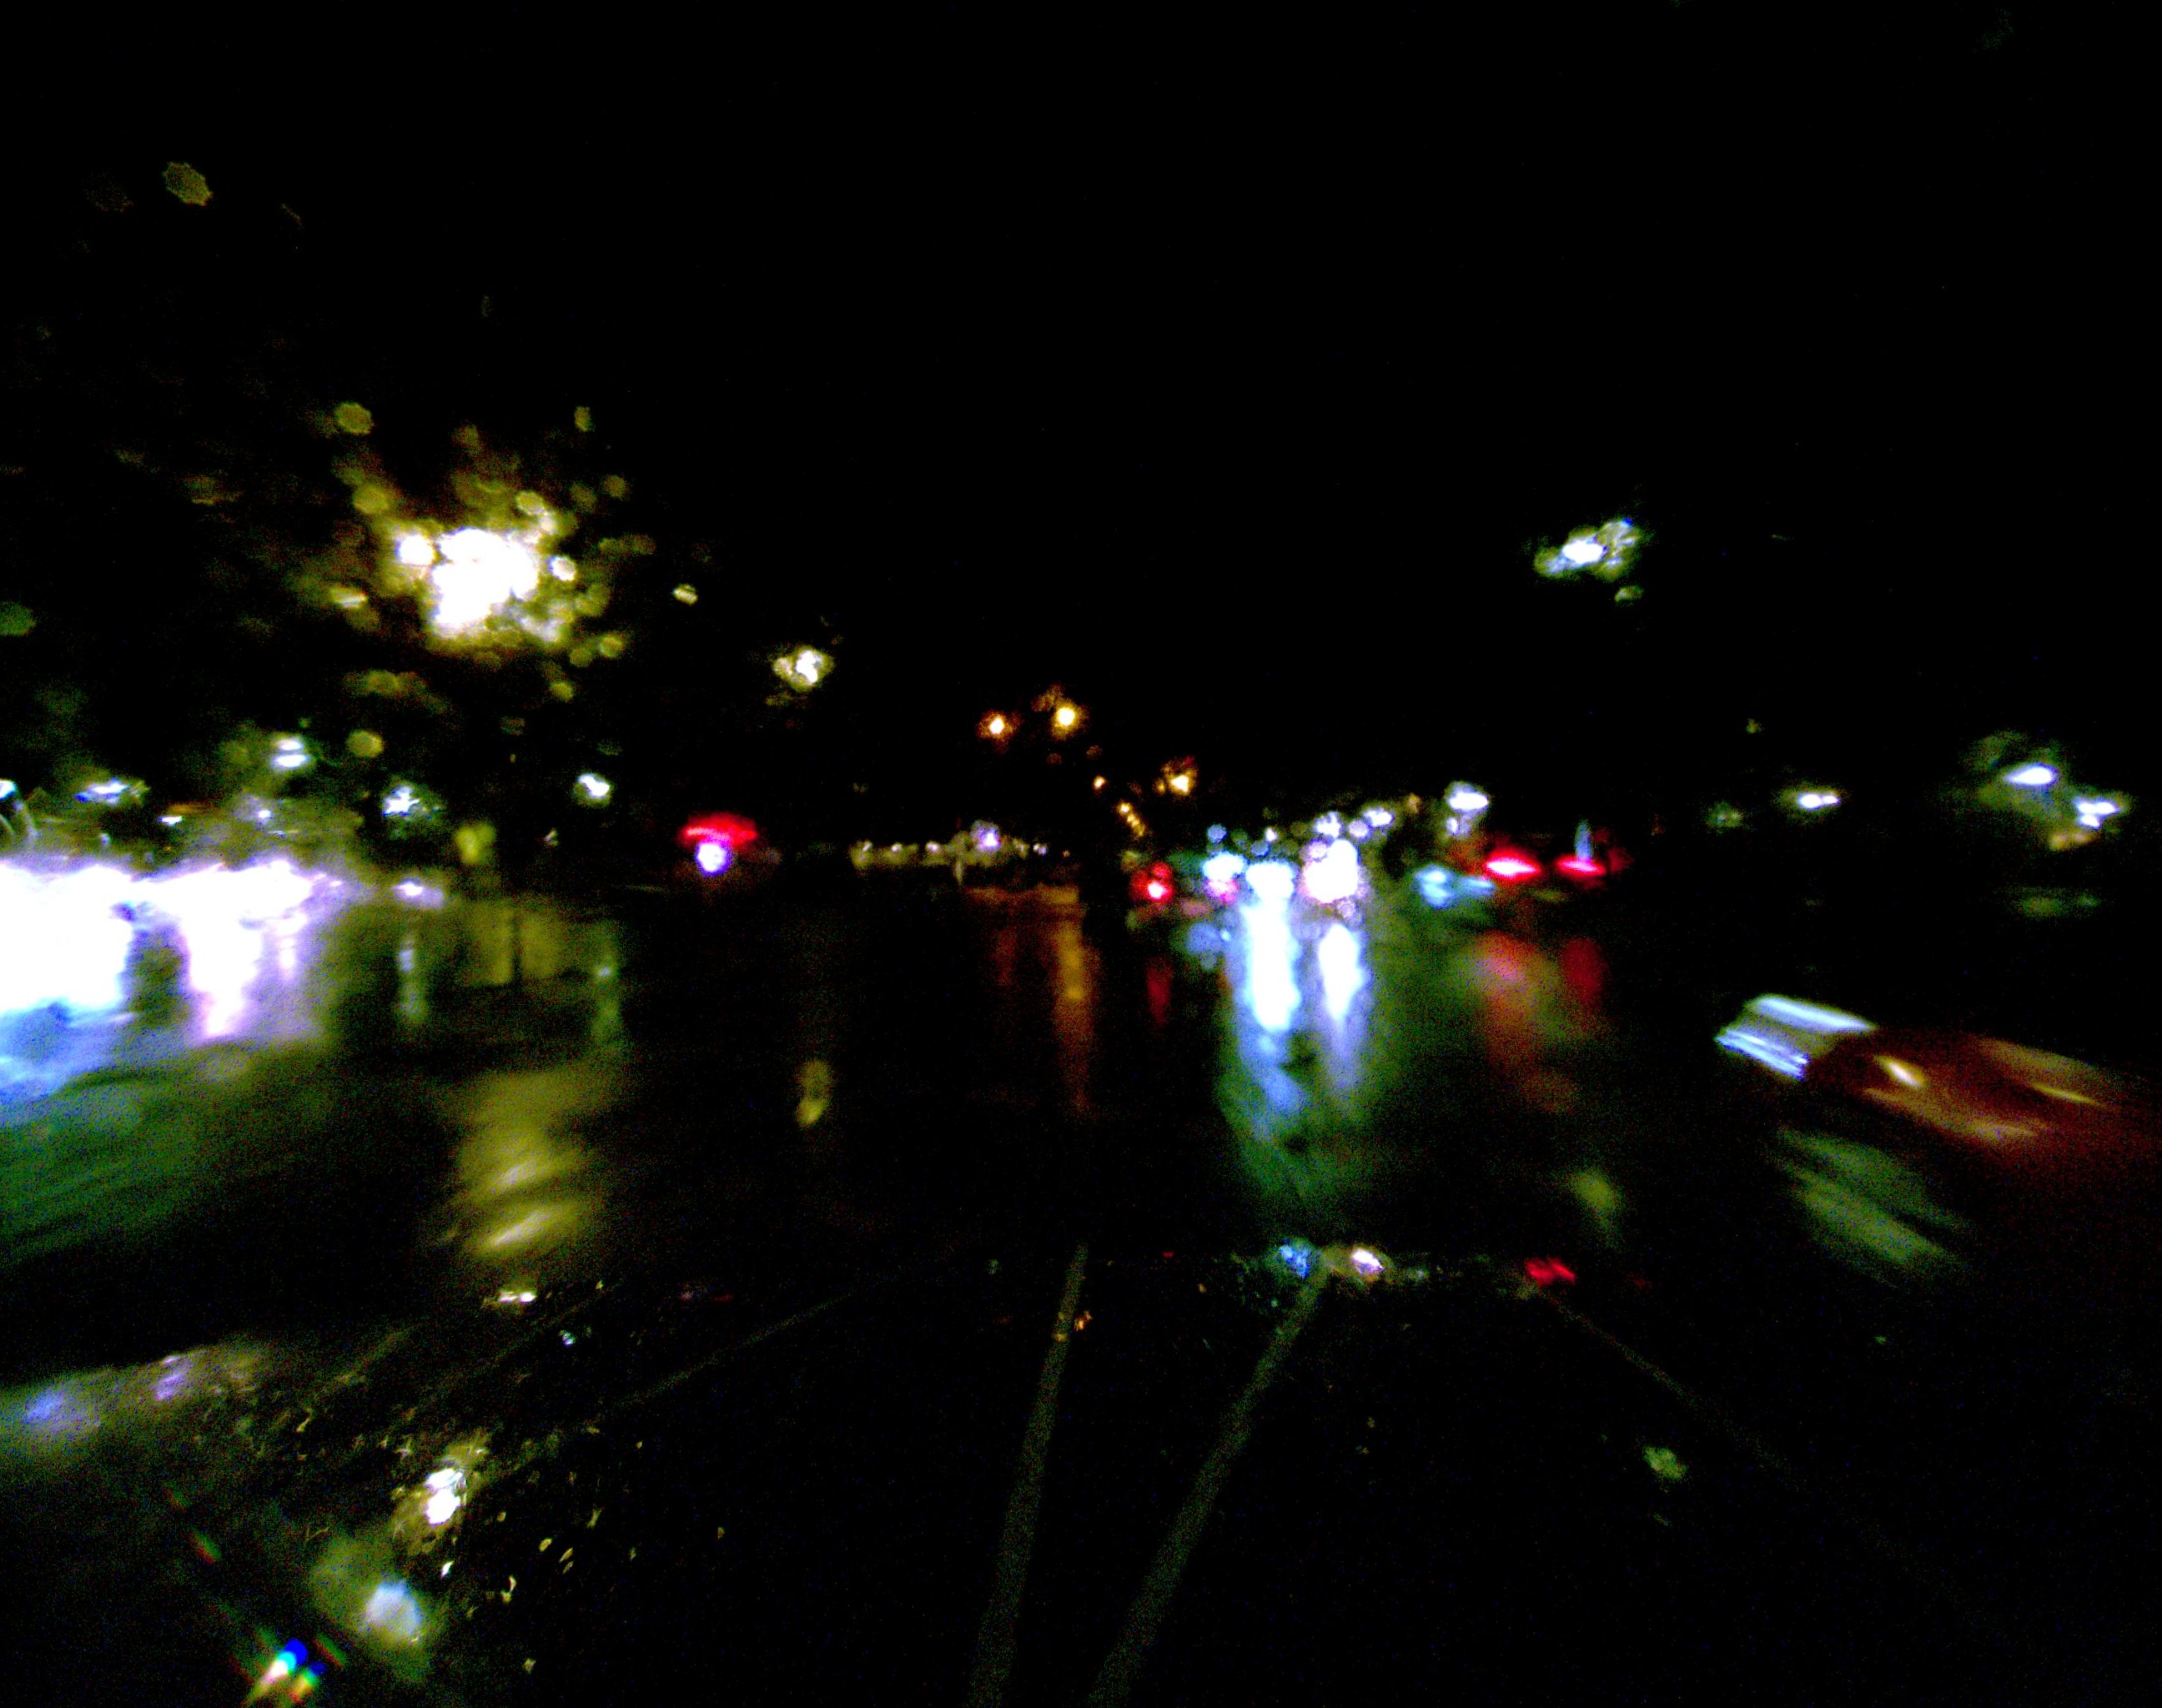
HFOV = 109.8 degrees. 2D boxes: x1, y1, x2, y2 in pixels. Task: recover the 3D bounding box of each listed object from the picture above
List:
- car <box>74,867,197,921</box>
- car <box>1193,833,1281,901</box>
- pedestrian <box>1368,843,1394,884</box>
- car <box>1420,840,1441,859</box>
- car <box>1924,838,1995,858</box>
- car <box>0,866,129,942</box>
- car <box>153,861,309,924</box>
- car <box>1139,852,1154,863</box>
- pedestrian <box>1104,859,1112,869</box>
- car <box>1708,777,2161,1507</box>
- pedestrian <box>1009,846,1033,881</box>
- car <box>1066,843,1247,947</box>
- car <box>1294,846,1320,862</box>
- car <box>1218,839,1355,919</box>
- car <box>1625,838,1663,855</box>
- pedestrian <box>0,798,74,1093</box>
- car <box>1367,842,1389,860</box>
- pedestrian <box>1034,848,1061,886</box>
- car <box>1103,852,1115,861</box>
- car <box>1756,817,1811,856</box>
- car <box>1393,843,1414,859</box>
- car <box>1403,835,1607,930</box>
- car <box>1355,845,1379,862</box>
[{"bbox_3d":[-30.781,1.263,24.727,3.719,1.570,1.694,-1,1,26],"label":"car"},{"bbox_3d":[4.883,0.391,24.550,2.038,1.942,5.201,-1,-1,3],"label":"car"},{"bbox_3d":[12.815,0.402,32.441,0.769,1.726,0.971,-1,1,39],"label":"pedestrian"},{"bbox_3d":[35.130,-0.461,76.387,1.866,1.750,4.501,-1,0,24],"label":"car"},{"bbox_3d":[68.336,-0.459,59.199,1.866,1.434,4.501,-1,0,24],"label":"car"},{"bbox_3d":[-24.822,1.131,17.815,4.578,1.570,1.925,-1,1,23],"label":"car"},{"bbox_3d":[-23.630,1.032,21.126,3.789,1.570,1.746,-1,1,23],"label":"car"},{"bbox_3d":[9.653,0.502,112.297,1.857,1.490,4.769,-1,0,-1],"label":"car"},{"bbox_3d":[4.326,1.667,122.643,1.051,1.566,1.019,-2,1,11],"label":"pedestrian"},{"bbox_3d":[3.100,0.605,0.779,1.672,1.553,4.007,-1,1,1],"label":"car"},{"bbox_3d":[-3.189,0.489,40.533,1.109,1.815,0.851,-1,0,6],"label":"pedestrian"},{"bbox_3d":[1.157,0.606,13.517,1.713,1.533,3.982,-1,1,-18],"label":"car"},{"bbox_3d":[20.979,-0.031,70.561,1.715,1.423,3.925,-1,0,25],"label":"car"},{"bbox_3d":[4.495,0.475,17.376,1.822,1.533,4.725,-1,1,0],"label":"car"},{"bbox_3d":[51.064,-0.661,69.019,1.866,1.434,4.501,-1,0,24],"label":"car"},{"bbox_3d":[-7.870,0.631,5.066,1.017,2.002,0.975,-2,1,-27],"label":"pedestrian"},{"bbox_3d":[30.714,-0.357,78.426,1.866,1.784,4.501,-1,0,24],"label":"car"},{"bbox_3d":[-1.618,0.607,36.894,1.109,1.815,0.851,-1,0,8],"label":"pedestrian"},{"bbox_3d":[4.685,0.382,126.330,1.826,1.522,4.784,0,0,5],"label":"car"},{"bbox_3d":[51.829,-1.256,56.158,1.715,2.715,4.362,-1,0,25],"label":"car"},{"bbox_3d":[33.120,-0.338,77.951,1.866,1.603,4.501,-1,0,24],"label":"car"},{"bbox_3d":[7.622,0.439,14.152,1.767,1.478,4.061,-1,1,4],"label":"car"},{"bbox_3d":[25.671,-0.061,68.107,1.715,1.511,3.925,-1,0,25],"label":"car"}]
